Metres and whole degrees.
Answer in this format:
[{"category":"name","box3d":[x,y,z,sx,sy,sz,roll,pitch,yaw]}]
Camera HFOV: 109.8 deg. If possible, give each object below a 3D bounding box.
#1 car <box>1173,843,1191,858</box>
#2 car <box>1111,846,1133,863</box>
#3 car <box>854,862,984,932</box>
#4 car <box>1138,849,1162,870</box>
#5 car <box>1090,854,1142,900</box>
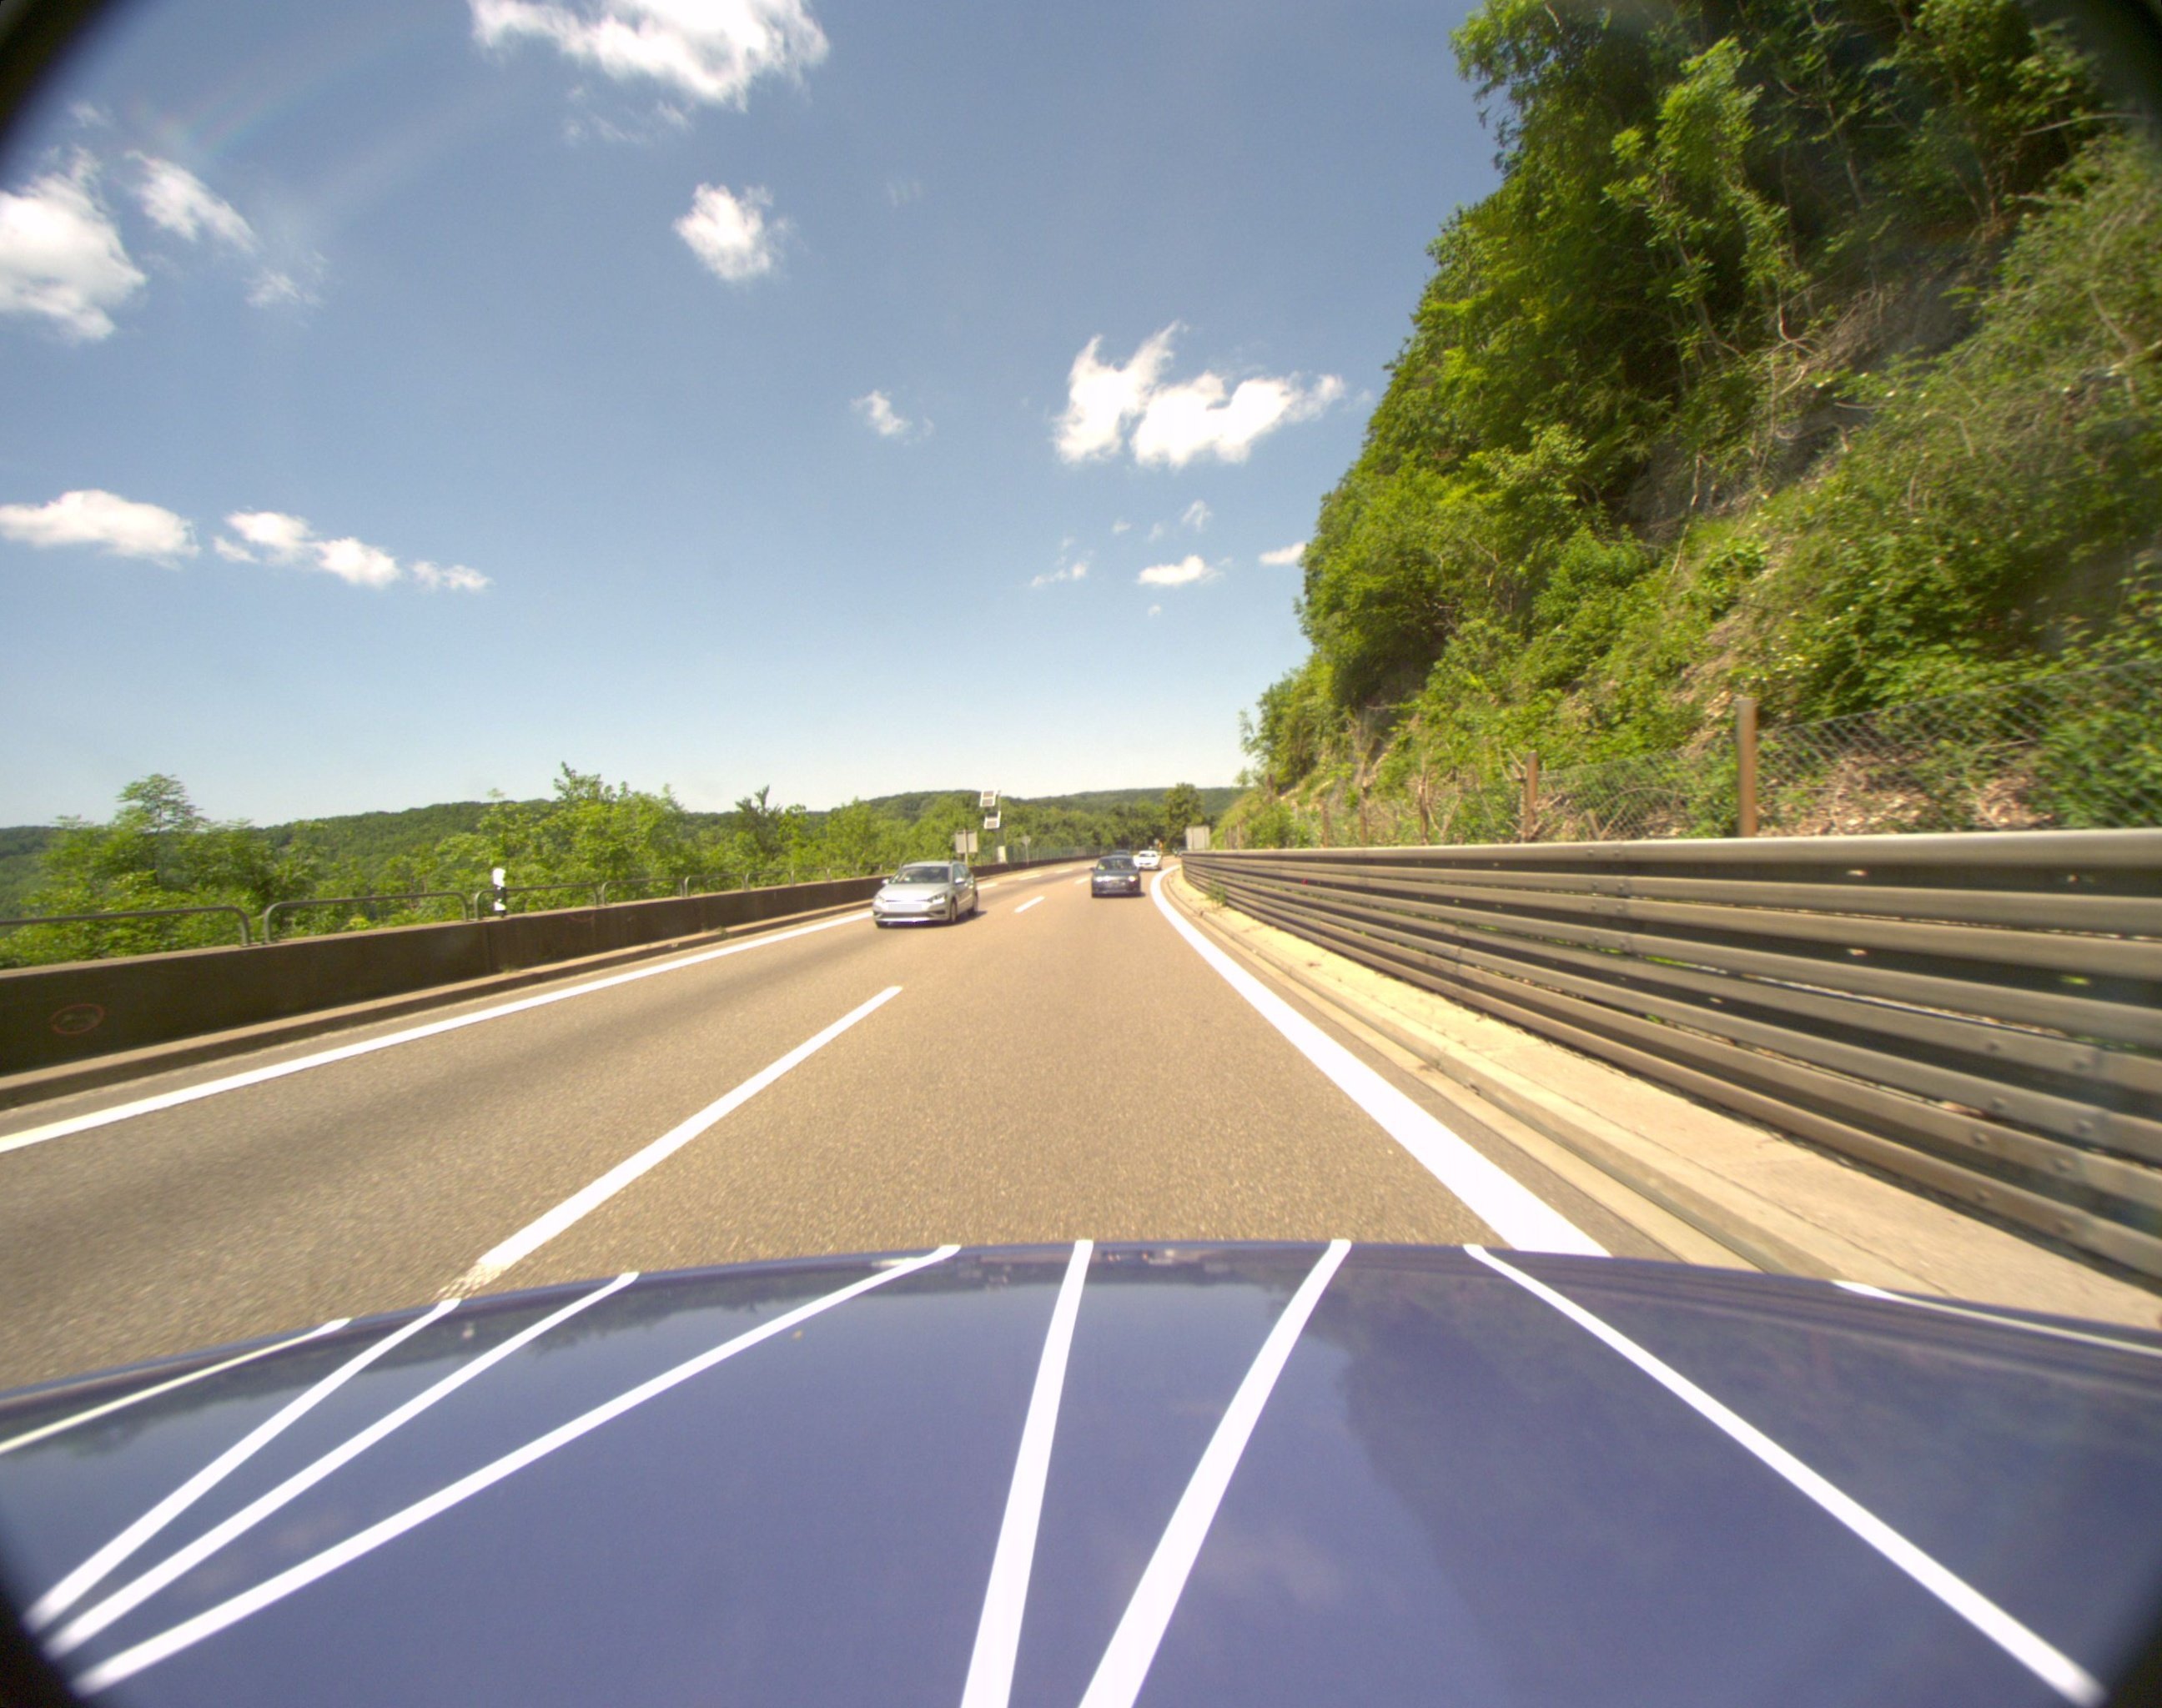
[{"category":"car","box3d":[14.660,-0.528,109.850,1.996,2.002,4.004,-2,0,16]},{"category":"car","box3d":[4.106,0.021,76.055,1.875,1.565,4.002,-1,1,7]},{"category":"car","box3d":[-3.740,0.949,18.436,1.972,1.370,4.294,-1,1,3]},{"category":"car","box3d":[5.212,0.402,57.598,1.702,1.432,4.044,-1,1,4]},{"category":"car","box3d":[1.241,0.776,27.092,1.669,1.415,4.044,-1,1,2]}]
